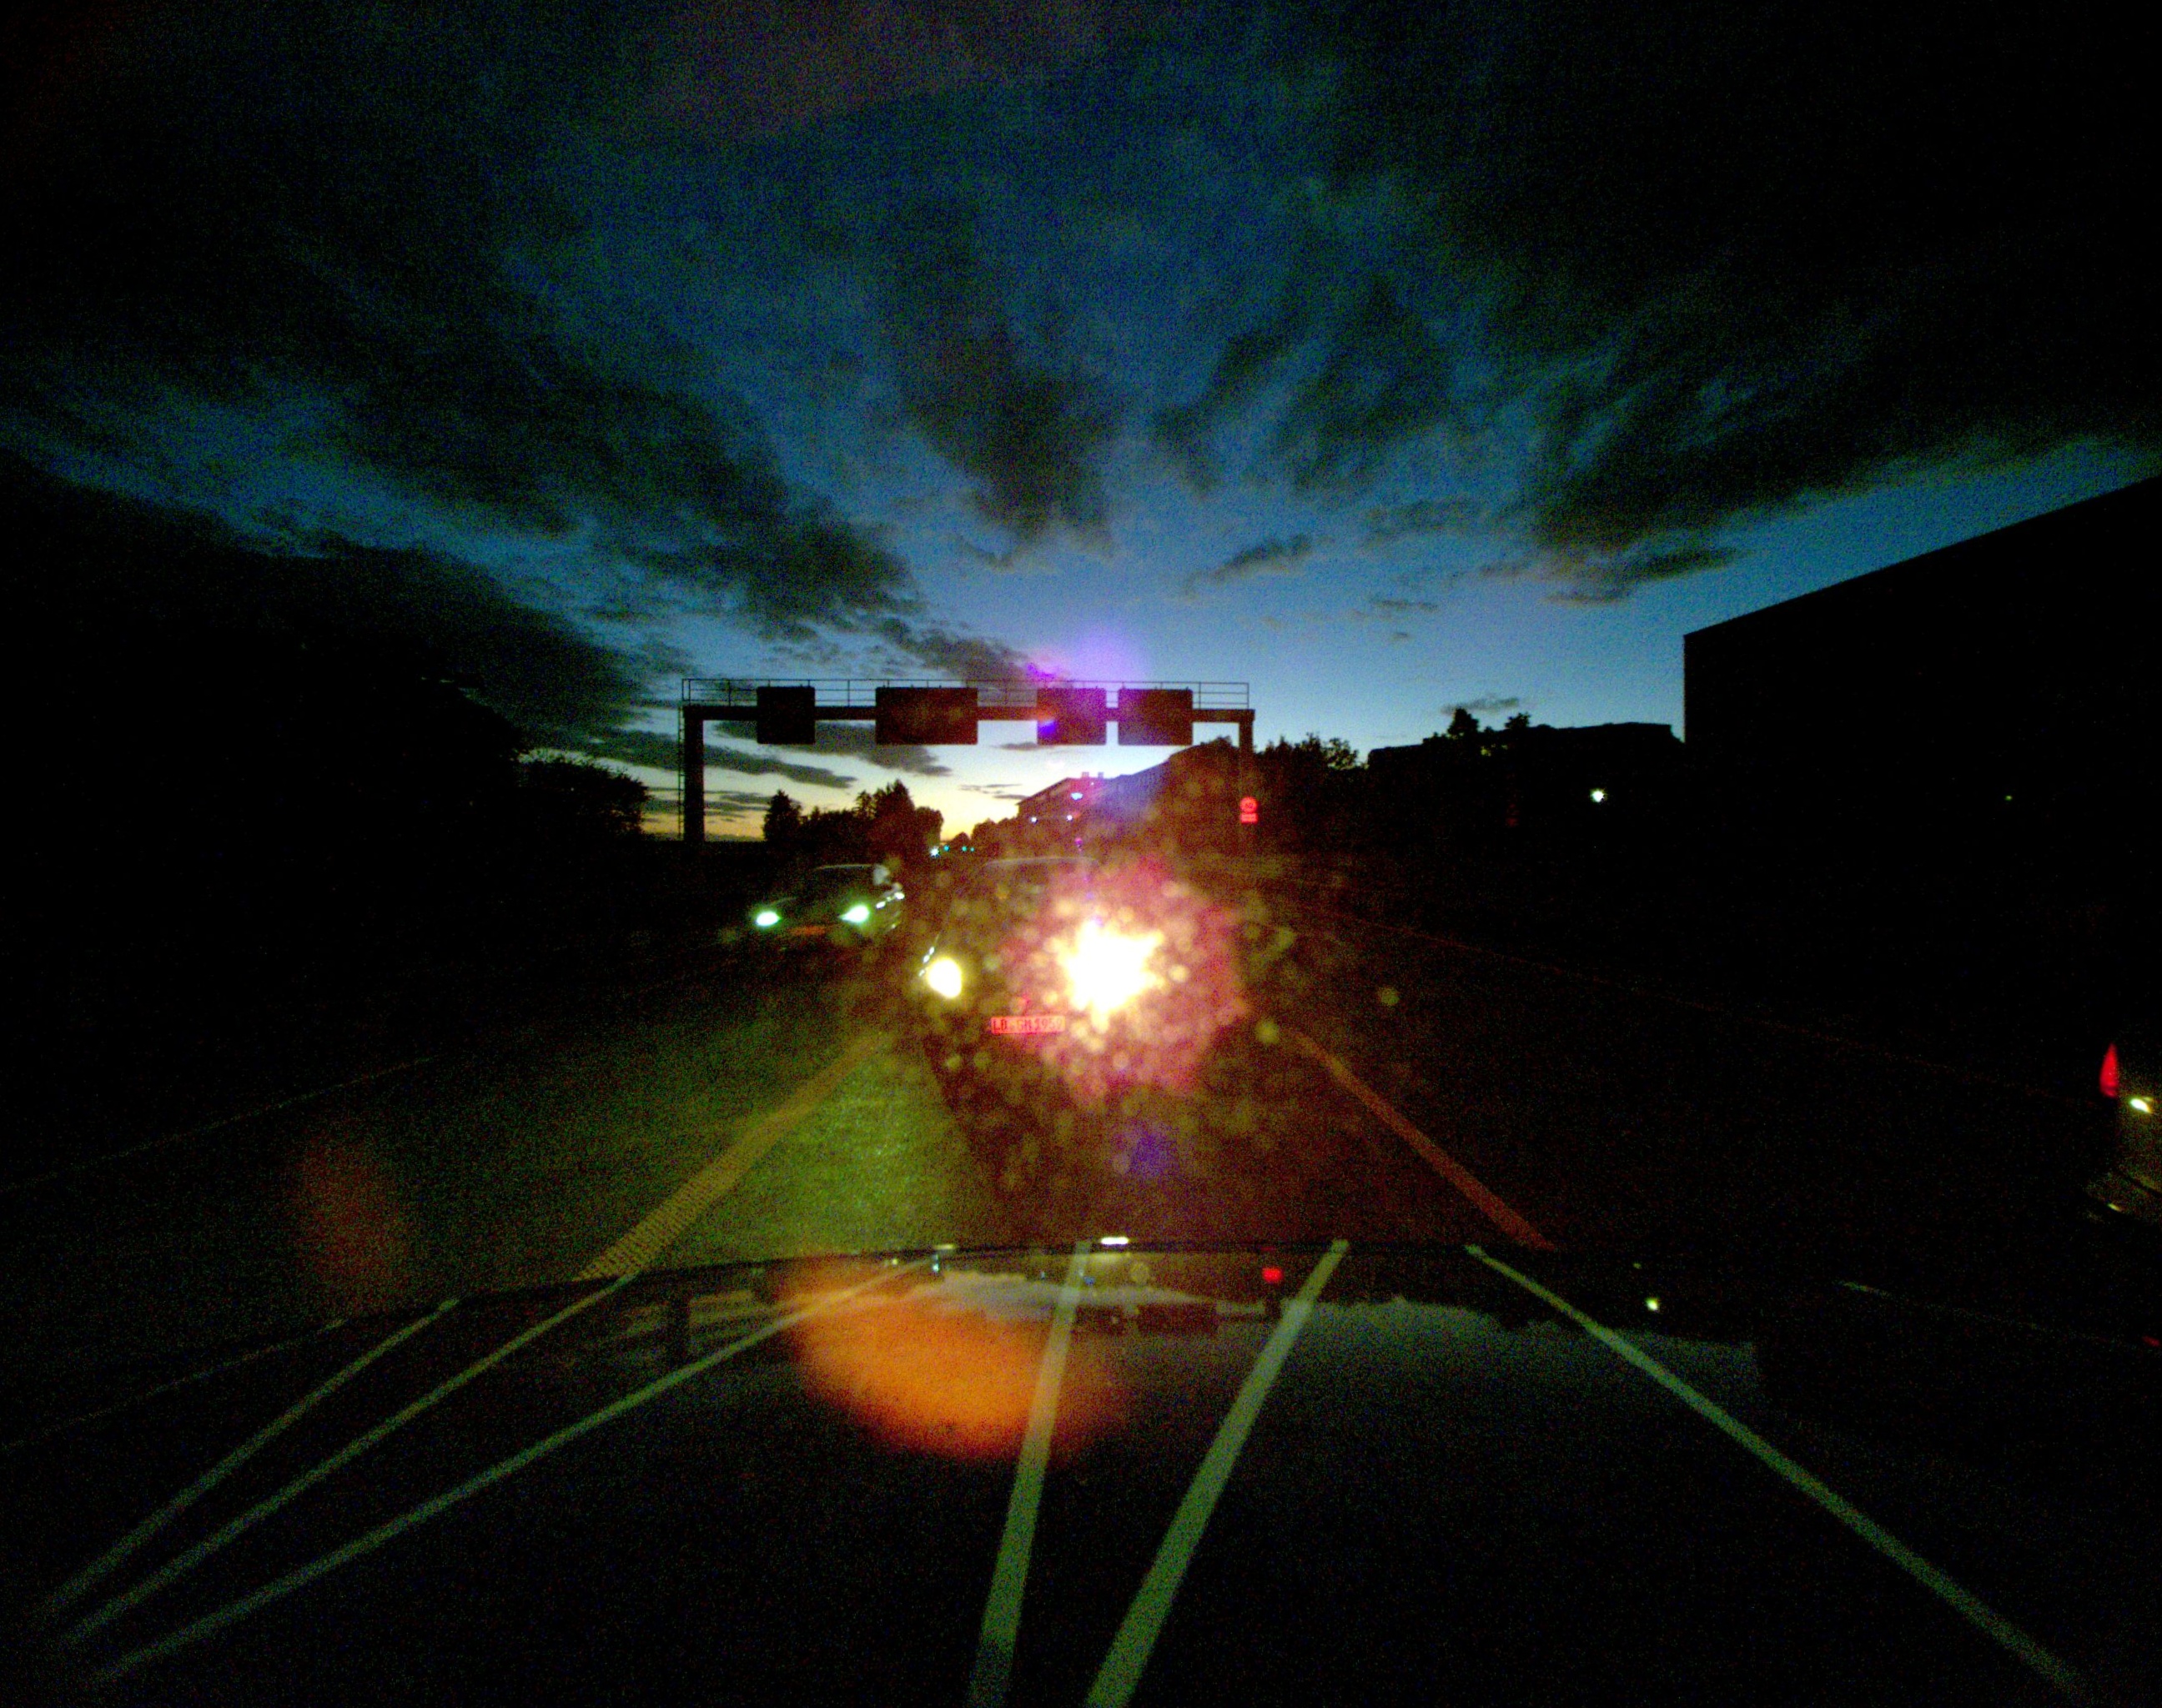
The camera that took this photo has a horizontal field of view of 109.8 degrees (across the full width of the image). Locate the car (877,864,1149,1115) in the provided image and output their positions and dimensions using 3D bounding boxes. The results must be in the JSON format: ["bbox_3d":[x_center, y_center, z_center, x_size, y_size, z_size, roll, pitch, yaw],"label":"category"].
[{"bbox_3d":[-0.323,0.886,6.666,1.669,1.472,3.777,-2,0,3],"label":"car"}]

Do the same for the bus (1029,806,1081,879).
[{"bbox_3d":[-1.771,-0.679,46.418,2.614,3.768,12.270,-2,1,-4],"label":"bus"}]

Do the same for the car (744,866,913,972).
[{"bbox_3d":[-4.298,1.003,13.715,1.795,1.435,4.532,-2,0,-4],"label":"car"}]
